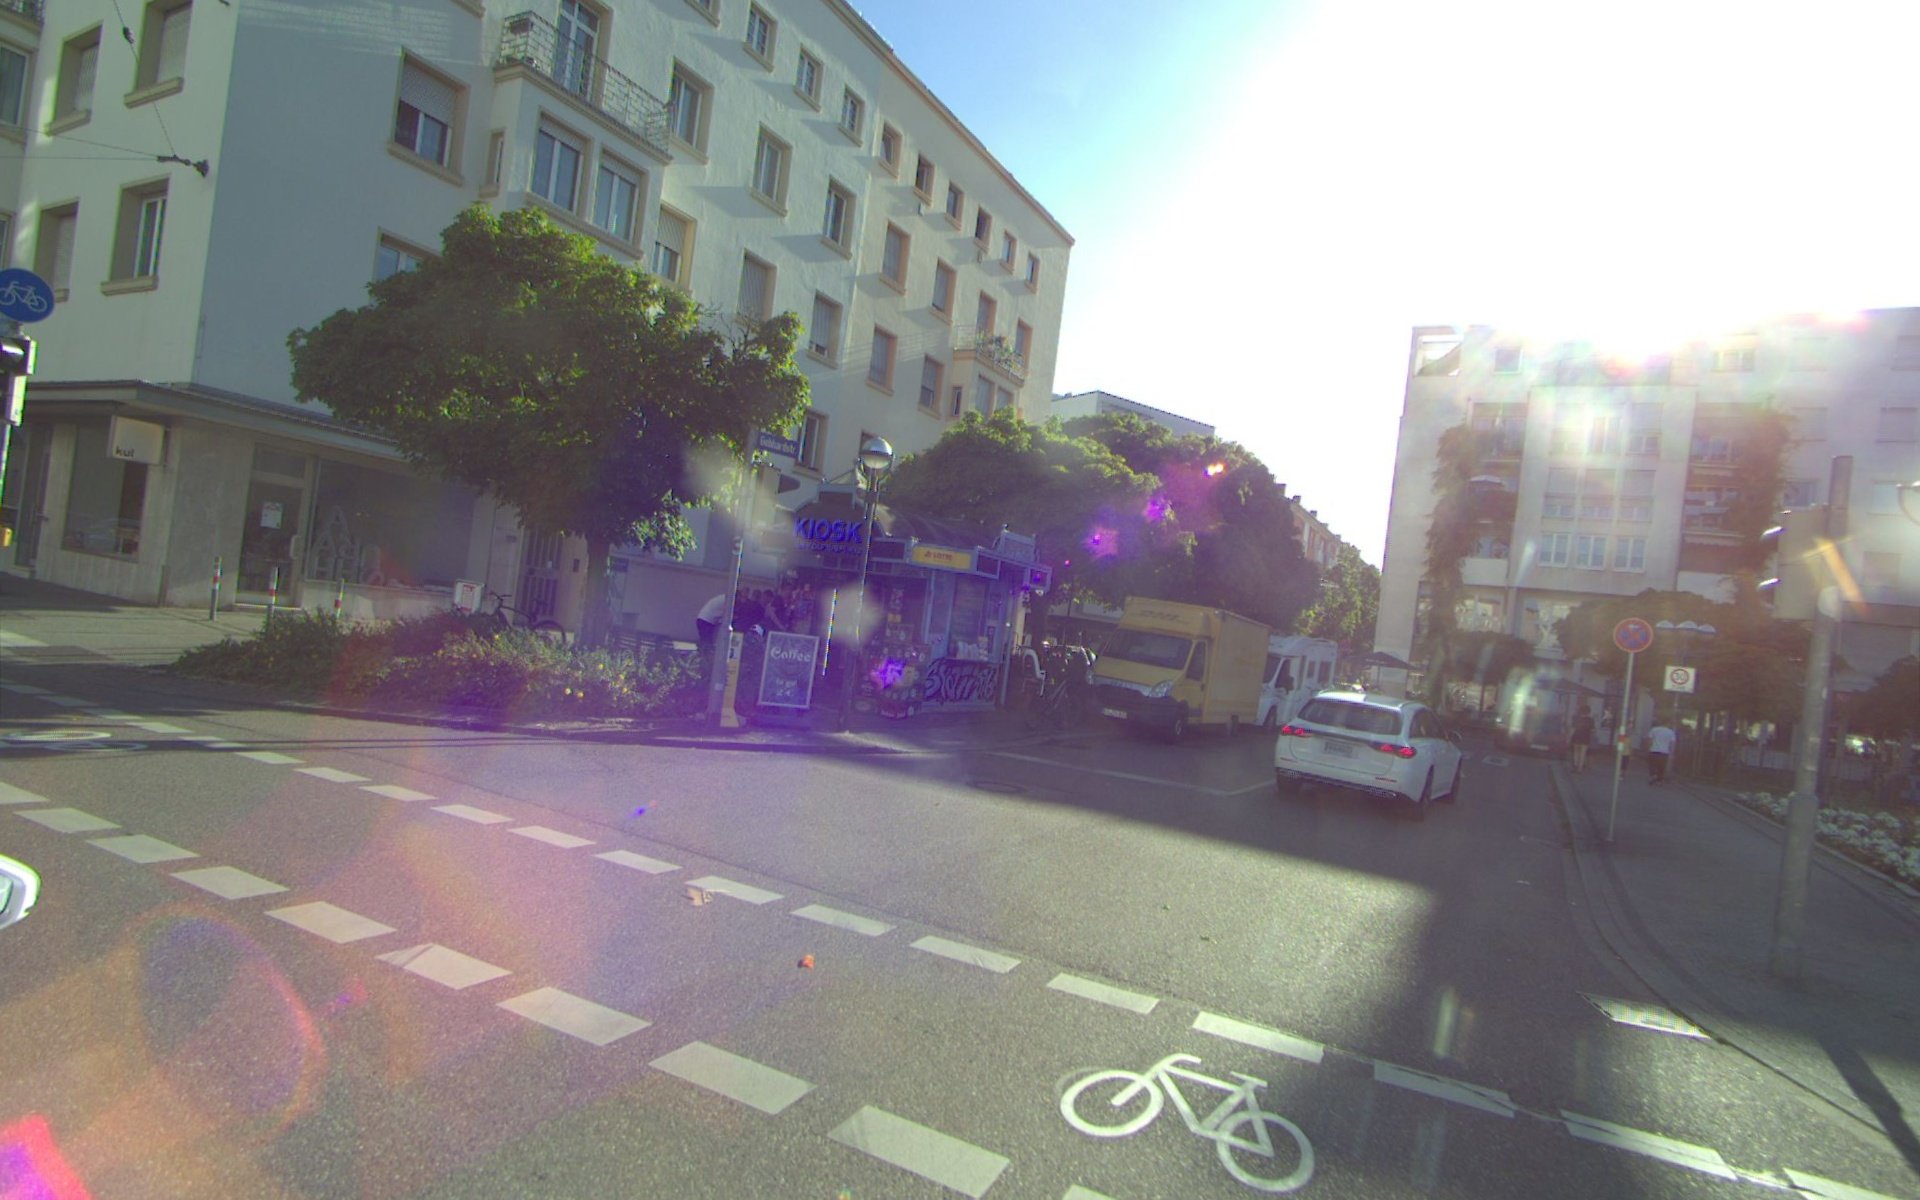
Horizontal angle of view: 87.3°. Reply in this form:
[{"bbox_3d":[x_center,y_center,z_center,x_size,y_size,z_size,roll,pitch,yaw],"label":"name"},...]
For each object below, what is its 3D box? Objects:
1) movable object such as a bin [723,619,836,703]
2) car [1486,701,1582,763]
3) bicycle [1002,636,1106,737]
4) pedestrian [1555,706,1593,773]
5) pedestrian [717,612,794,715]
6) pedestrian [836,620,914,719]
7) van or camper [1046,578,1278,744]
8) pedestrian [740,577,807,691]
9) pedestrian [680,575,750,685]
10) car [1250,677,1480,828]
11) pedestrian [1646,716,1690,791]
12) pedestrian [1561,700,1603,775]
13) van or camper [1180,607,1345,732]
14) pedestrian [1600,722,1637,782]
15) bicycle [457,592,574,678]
[{"bbox_3d":[-2.920,0.993,16.309,1.197,1.166,1.201,7,-1,32],"label":"movable object such as a bin"},{"bbox_3d":[18.295,4.171,32.247,1.963,1.503,4.001,7,-2,22],"label":"car"},{"bbox_3d":[1.693,1.551,17.562,0.714,1.548,2.392,7,-3,30],"label":"bicycle"},{"bbox_3d":[15.932,3.607,26.077,0.651,1.604,0.902,7,-1,34],"label":"pedestrian"},{"bbox_3d":[-2.878,0.891,14.167,0.736,1.331,0.622,7,-1,-36],"label":"pedestrian"},{"bbox_3d":[-1.344,1.103,16.004,0.742,1.426,0.731,10,1,31],"label":"pedestrian"},{"bbox_3d":[4.676,1.414,21.859,2.331,2.779,7.134,8,-1,32],"label":"van or camper"},{"bbox_3d":[-3.220,0.588,17.371,0.648,1.861,0.654,7,0,34],"label":"pedestrian"},{"bbox_3d":[-4.410,0.551,18.120,0.667,1.861,0.785,7,0,34],"label":"pedestrian"},{"bbox_3d":[5.920,2.086,14.279,1.959,1.480,4.807,7,-2,34],"label":"car"},{"bbox_3d":[16.237,3.505,23.099,0.651,1.604,0.902,7,-1,34],"label":"pedestrian"},{"bbox_3d":[15.163,3.339,24.528,0.684,1.705,0.902,7,-1,34],"label":"pedestrian"},{"bbox_3d":[8.581,2.019,28.014,2.340,2.872,6.413,7,-2,34],"label":"van or camper"},{"bbox_3d":[15.623,3.592,23.864,0.595,1.295,0.902,7,-1,34],"label":"pedestrian"},{"bbox_3d":[-6.608,0.545,15.029,0.295,1.133,1.569,6,-2,35],"label":"bicycle"}]
